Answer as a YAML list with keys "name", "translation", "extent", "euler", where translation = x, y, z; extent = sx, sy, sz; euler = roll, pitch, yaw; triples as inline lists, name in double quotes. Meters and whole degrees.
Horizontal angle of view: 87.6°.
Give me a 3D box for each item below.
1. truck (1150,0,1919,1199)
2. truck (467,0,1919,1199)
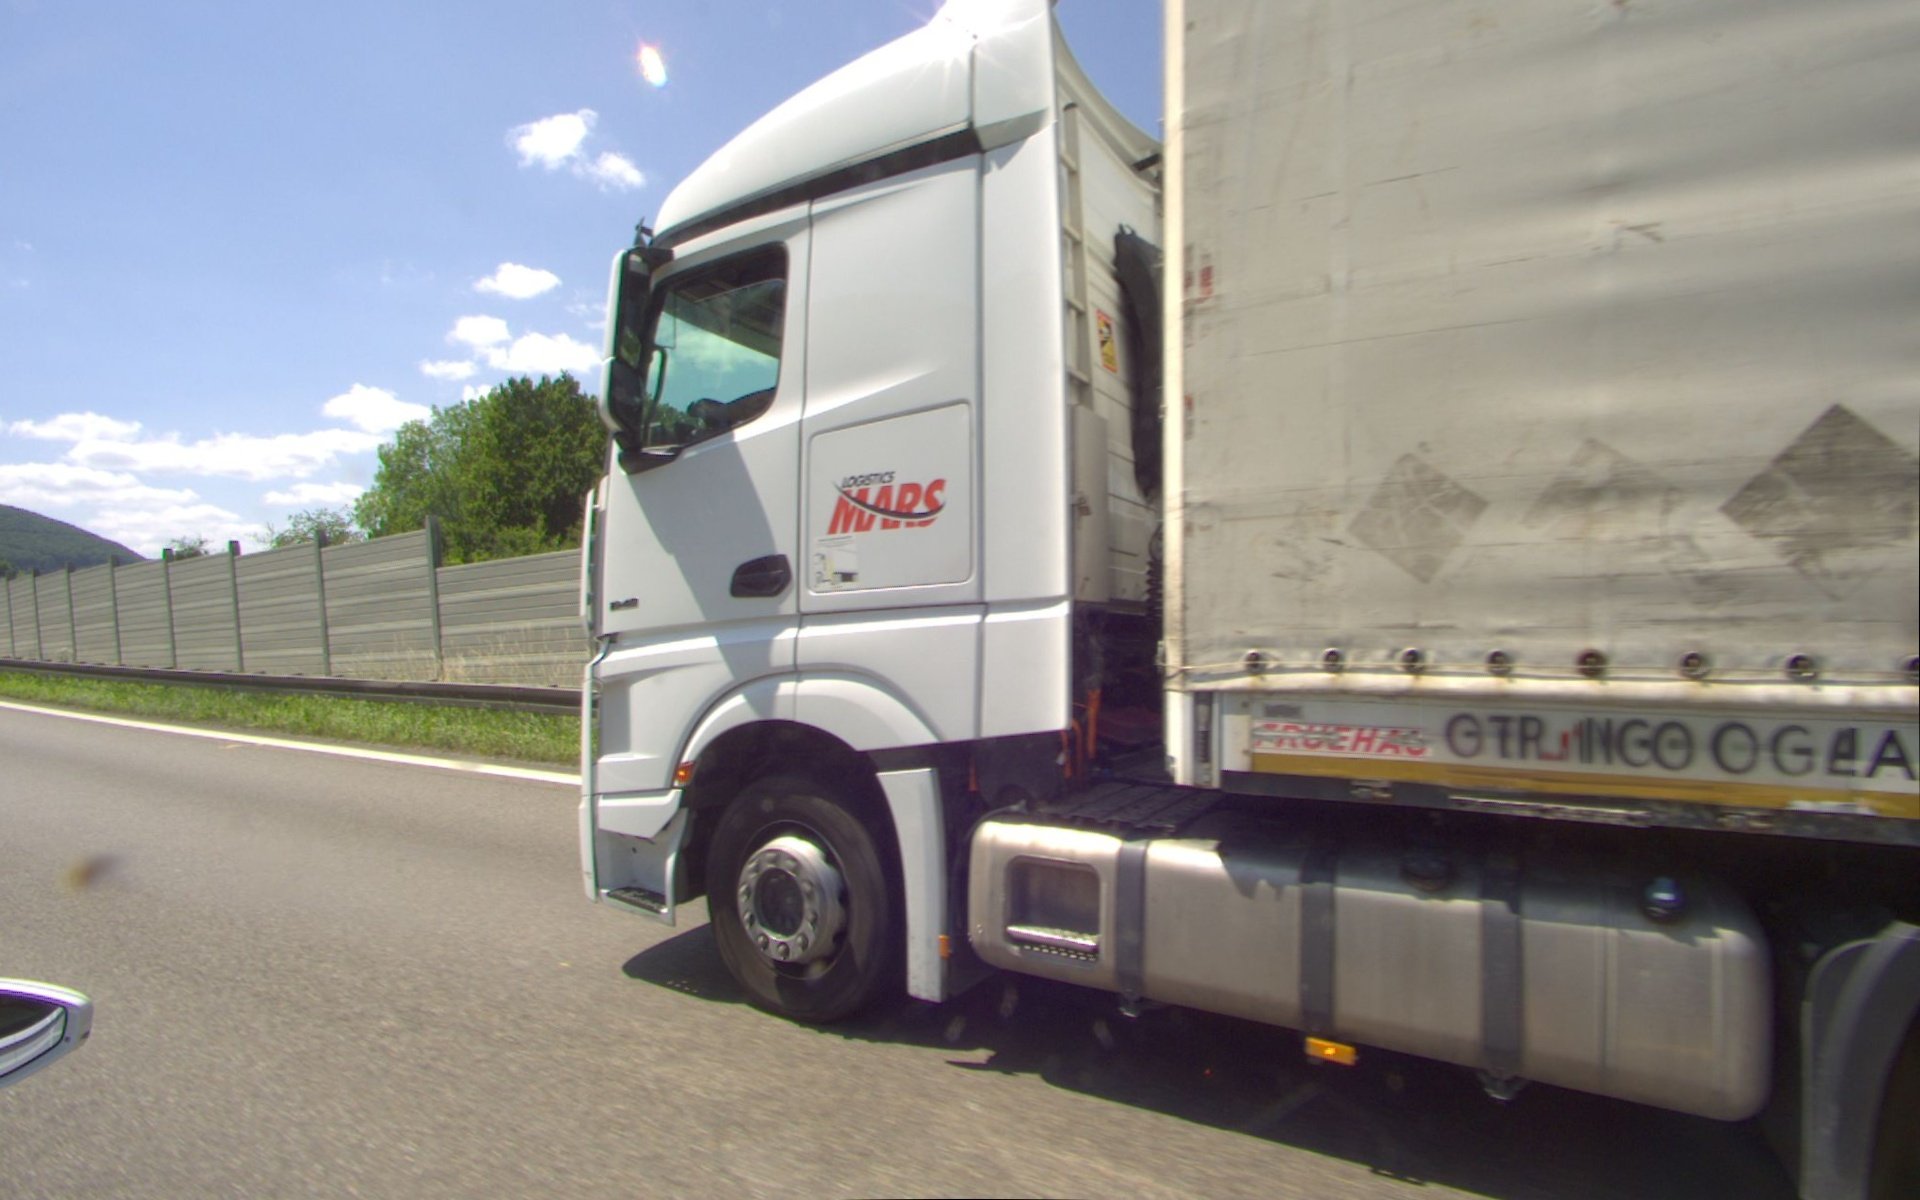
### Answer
- name: "truck"
  translation: [7.075, -0.660, 0.646]
  extent: [13.535, 4.120, 2.723]
  euler: [-1, -1, 30]
- name: "truck"
  translation: [0.980, -0.513, 4.146]
  extent: [5.668, 4.120, 2.716]
  euler: [-1, -1, 30]
